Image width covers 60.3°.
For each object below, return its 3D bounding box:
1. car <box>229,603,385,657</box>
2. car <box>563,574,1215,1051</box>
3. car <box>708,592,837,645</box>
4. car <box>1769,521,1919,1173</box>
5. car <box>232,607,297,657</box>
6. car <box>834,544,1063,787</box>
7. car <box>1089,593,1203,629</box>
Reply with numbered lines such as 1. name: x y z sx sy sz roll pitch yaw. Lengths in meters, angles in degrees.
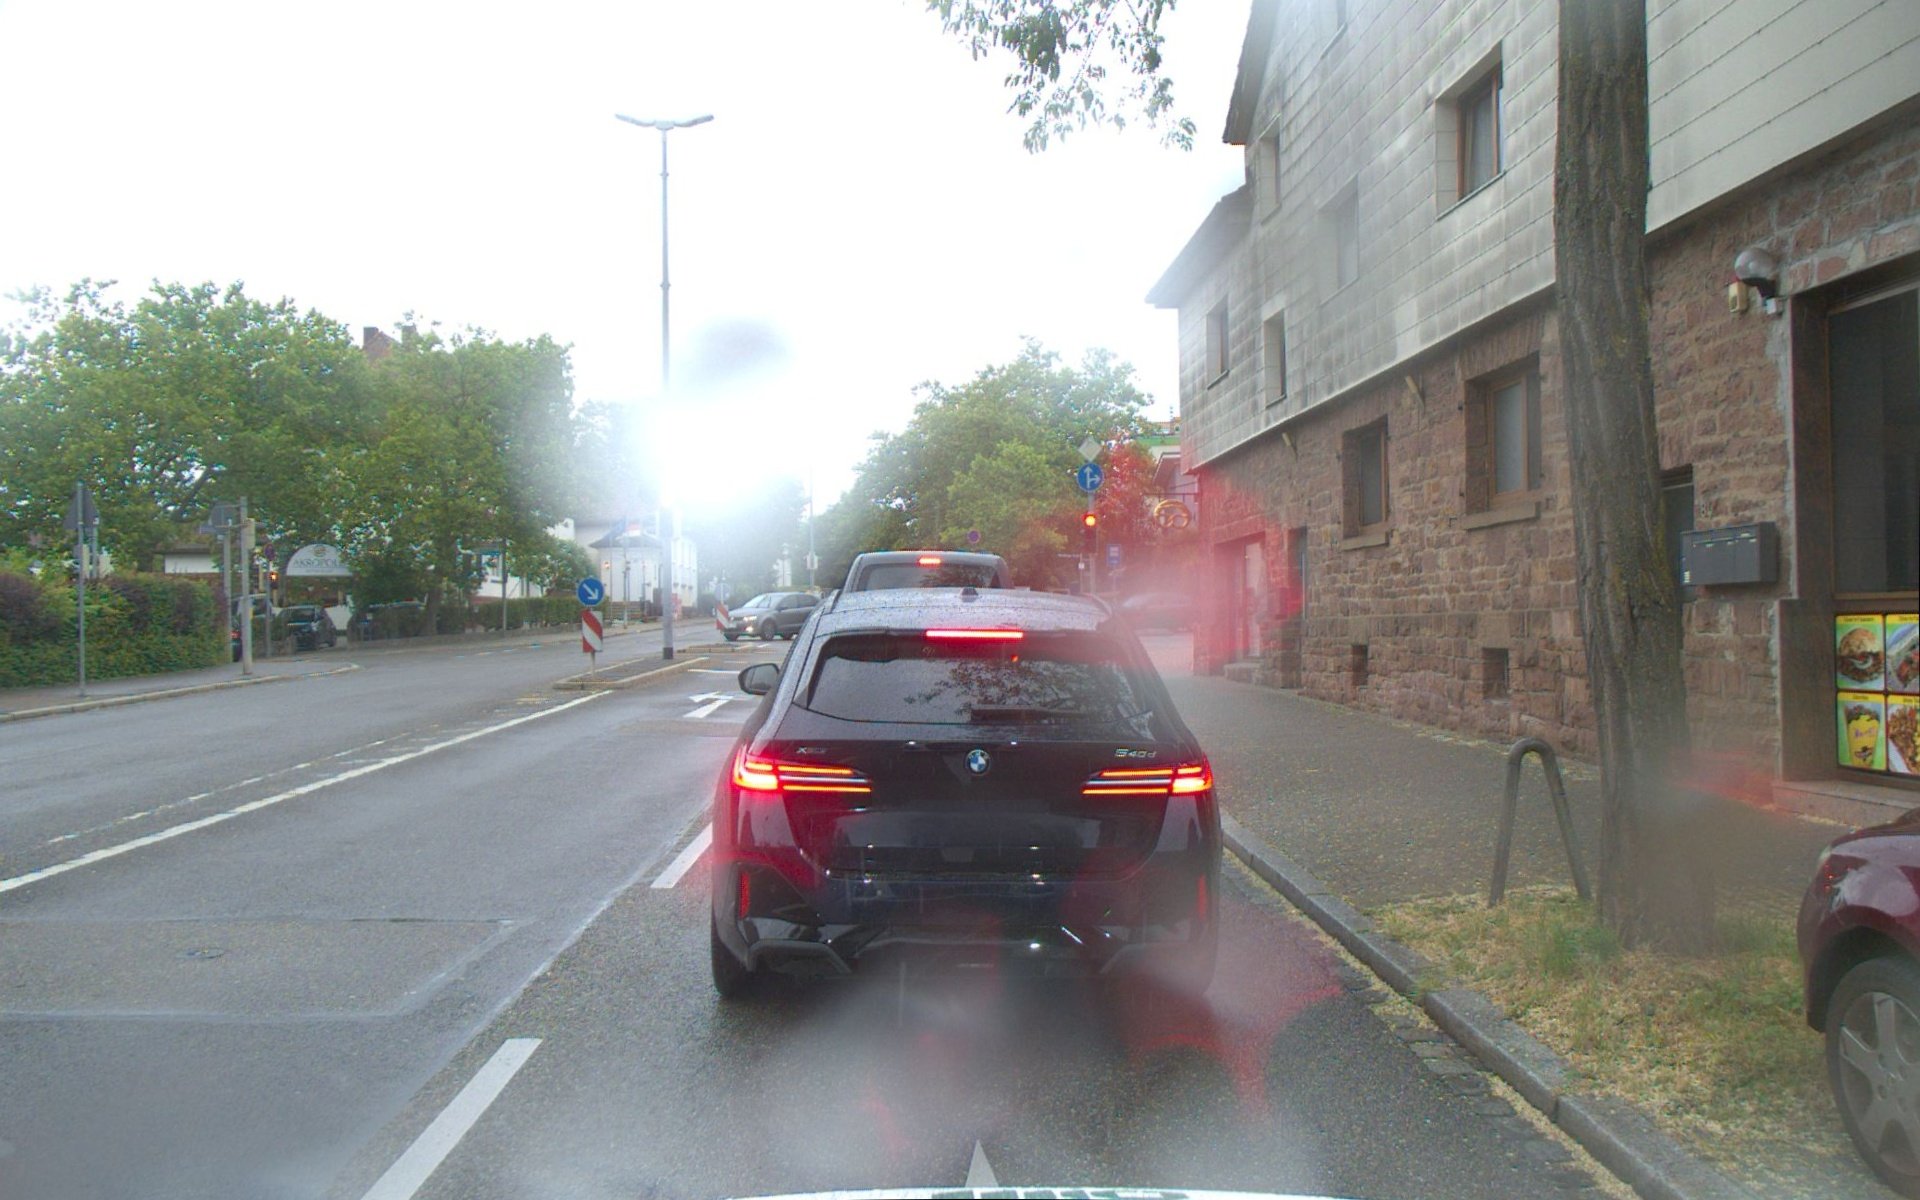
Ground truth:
1. car: -20.230 0.929 51.447 4.402 1.614 2.059 1 0 -20
2. car: -0.334 0.662 7.407 2.023 1.472 4.480 1 0 -3
3. car: -5.667 0.535 50.398 1.956 1.536 3.947 0 0 30
4. car: 3.048 0.550 2.599 1.552 1.516 3.625 -3 1 -3
5. car: -23.795 1.069 56.691 1.966 1.579 3.973 0 0 -22
6. car: -0.187 0.478 14.616 1.748 1.849 3.998 0 0 -3
7. car: 6.893 0.386 61.533 3.910 1.311 1.846 0 0 -6
